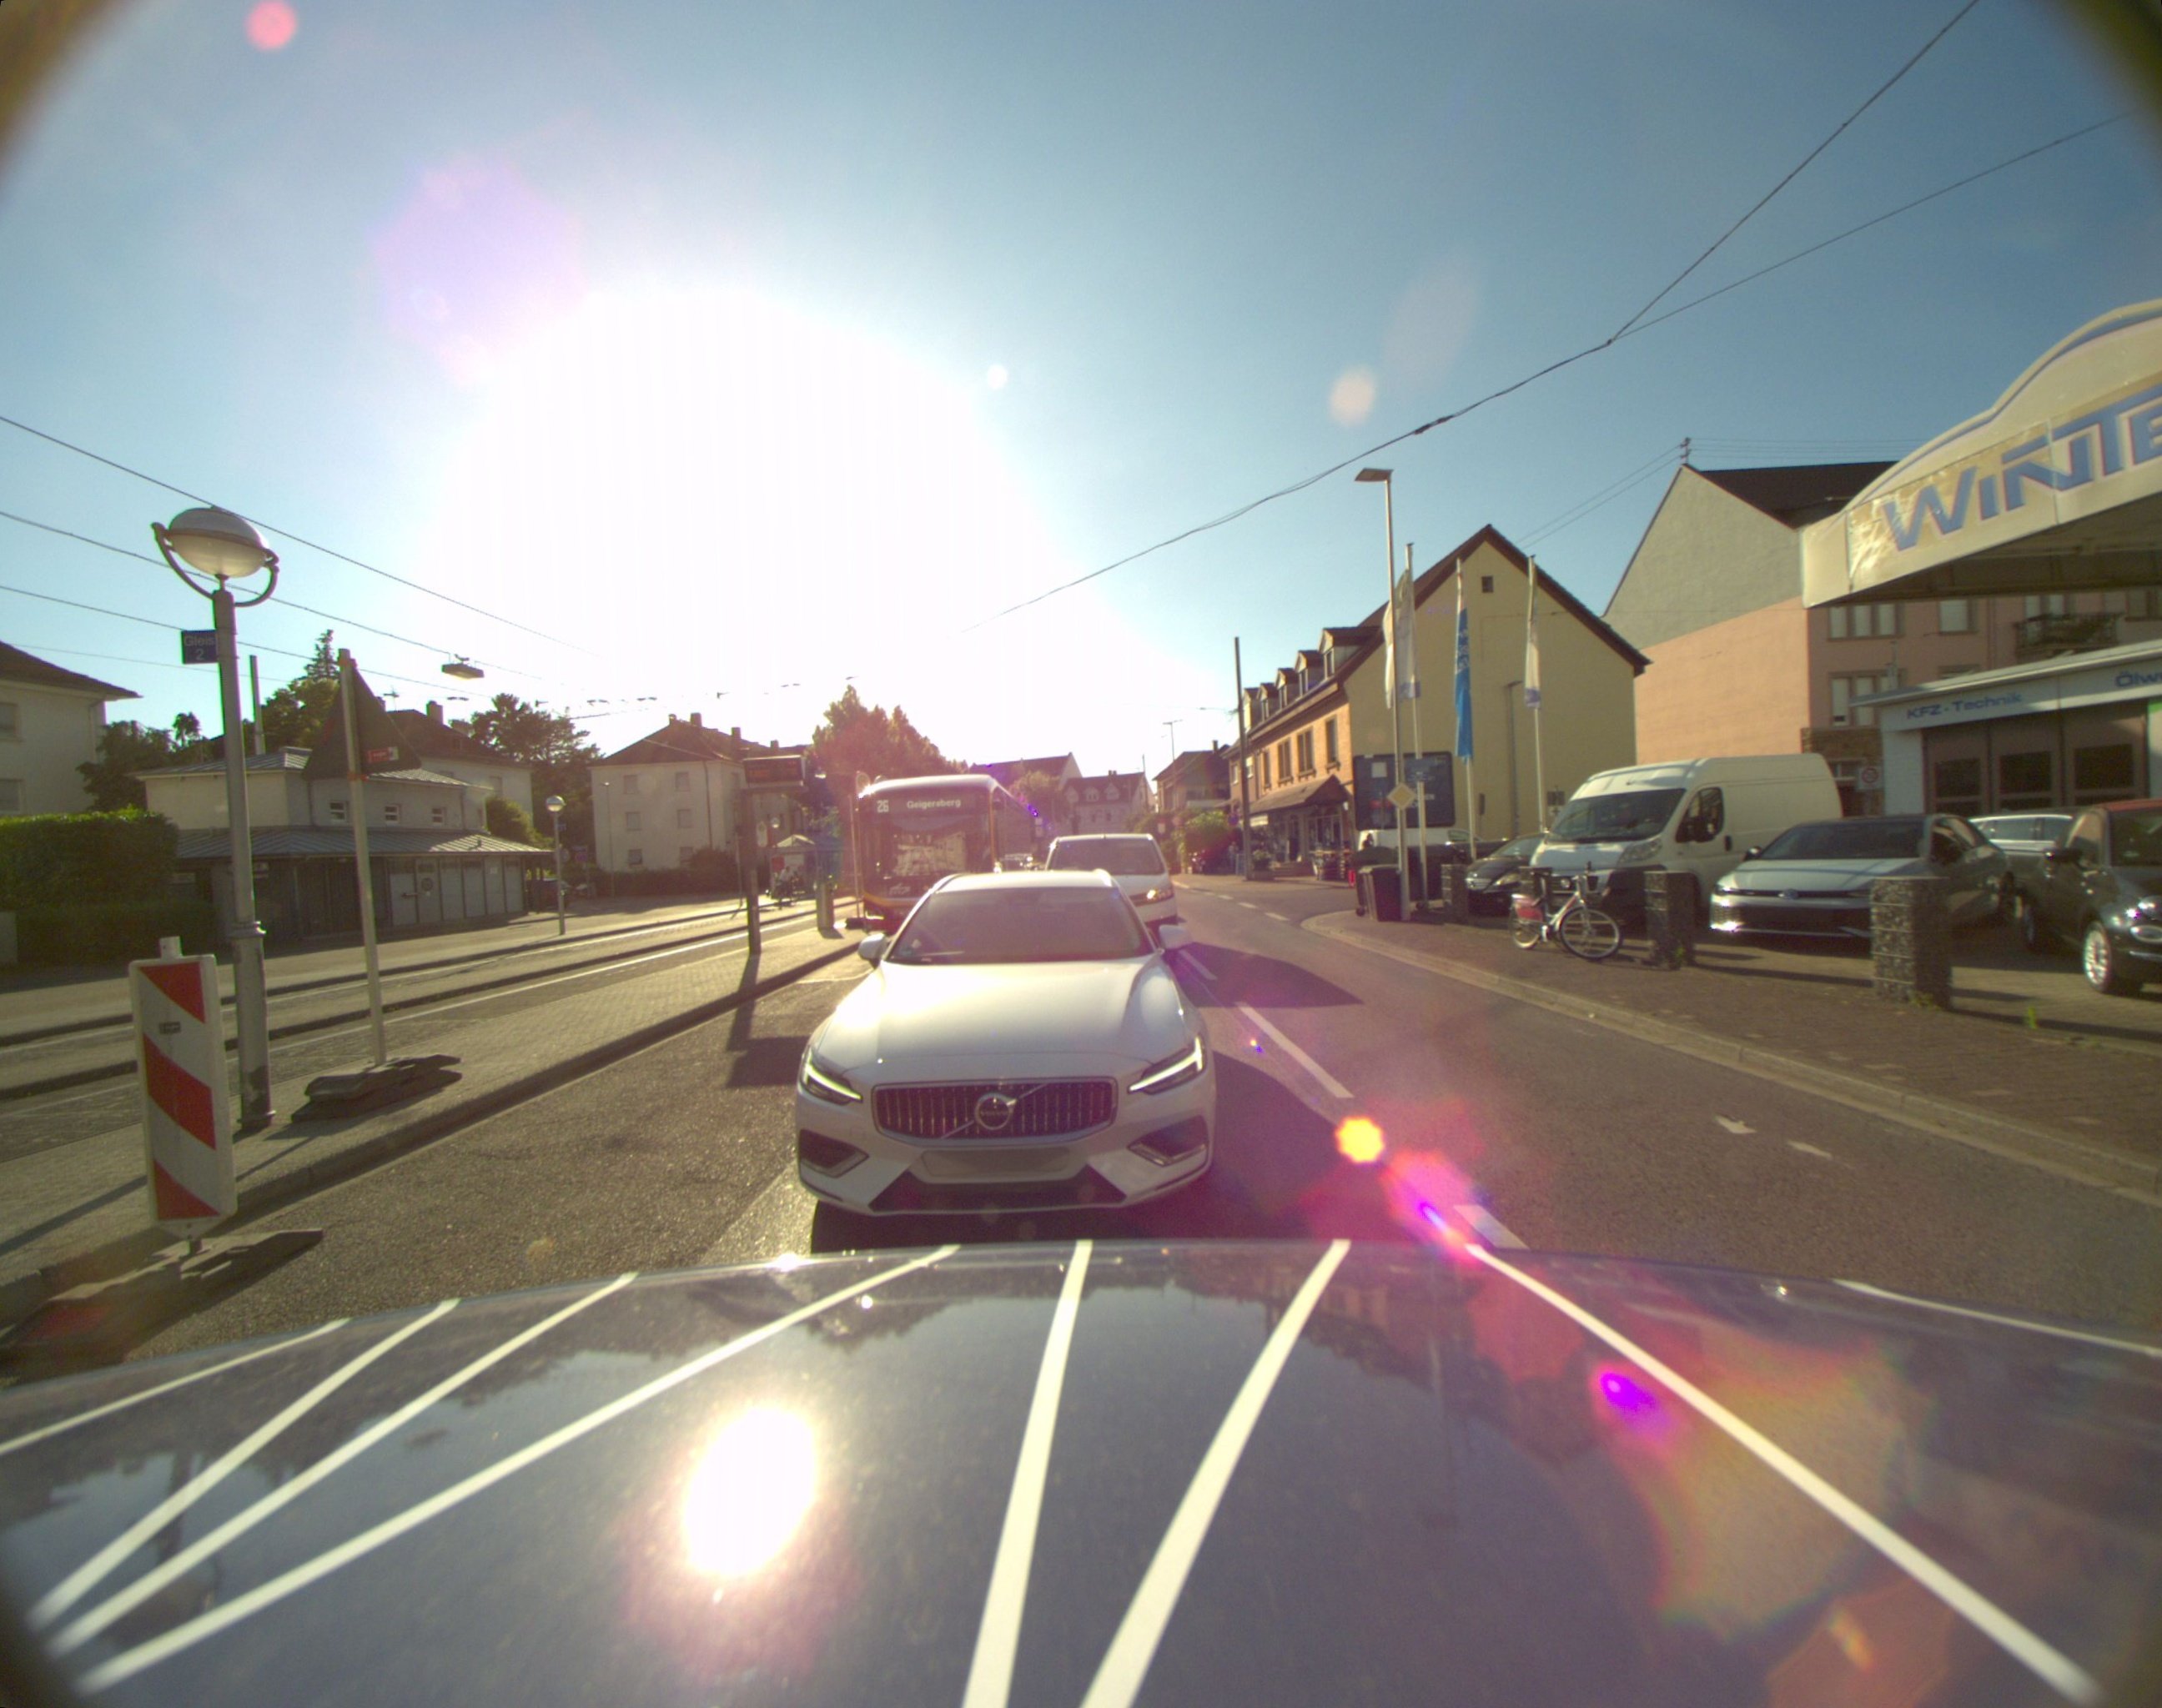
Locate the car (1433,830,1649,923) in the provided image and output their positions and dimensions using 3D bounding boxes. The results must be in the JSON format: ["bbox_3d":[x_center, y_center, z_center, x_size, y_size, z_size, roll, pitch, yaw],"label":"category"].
[{"bbox_3d":[8.964,0.375,14.754,4.036,1.469,1.739,-3,1,-28],"label":"car"}]

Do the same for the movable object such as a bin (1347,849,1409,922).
[{"bbox_3d":[6.232,0.643,15.958,1.045,1.456,0.797,-2,1,32],"label":"movable object such as a bin"}]

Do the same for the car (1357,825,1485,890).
[{"bbox_3d":[11.562,0.099,25.929,3.672,2.002,1.451,-2,1,-3],"label":"car"}]

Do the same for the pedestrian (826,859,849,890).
[{"bbox_3d":[-13.329,1.115,41.599,0.823,1.601,0.843,-2,1,19],"label":"pedestrian"}]

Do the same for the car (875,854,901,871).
[{"bbox_3d":[-23.263,1.023,91.780,1.998,1.853,3.999,-2,1,1],"label":"car"}]

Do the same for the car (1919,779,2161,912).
[{"bbox_3d":[16.477,-0.172,11.995,1.742,1.933,4.257,-3,1,-1],"label":"car"}]

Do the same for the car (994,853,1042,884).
[{"bbox_3d":[-3.232,0.708,39.897,1.969,1.450,4.824,-2,0,1],"label":"car"}]

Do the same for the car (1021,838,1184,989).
[{"bbox_3d":[0.299,0.736,12.017,1.969,1.816,5.033,-2,0,1],"label":"car"}]

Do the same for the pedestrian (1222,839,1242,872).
[{"bbox_3d":[7.868,0.070,39.642,0.809,1.703,0.859,-2,1,1],"label":"pedestrian"}]

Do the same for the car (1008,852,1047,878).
[{"bbox_3d":[-3.274,0.634,47.311,1.969,1.450,4.824,-2,0,1],"label":"car"}]

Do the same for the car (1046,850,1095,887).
[{"bbox_3d":[-0.395,0.585,33.268,1.969,1.450,4.824,-2,0,1],"label":"car"}]

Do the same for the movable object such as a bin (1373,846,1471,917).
[{"bbox_3d":[7.590,0.580,16.921,1.798,1.456,1.046,-3,1,-25],"label":"movable object such as a bin"}]

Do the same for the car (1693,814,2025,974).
[{"bbox_3d":[9.486,0.361,9.219,4.036,1.488,1.739,-3,1,-28],"label":"car"}]

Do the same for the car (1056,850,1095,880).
[{"bbox_3d":[-0.256,0.569,41.521,1.969,1.450,4.824,-2,0,1],"label":"car"}]

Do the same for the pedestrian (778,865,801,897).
[{"bbox_3d":[-12.815,1.180,33.437,0.657,1.373,0.581,-2,1,20],"label":"pedestrian"}]

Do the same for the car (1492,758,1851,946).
[{"bbox_3d":[9.140,-0.133,11.768,4.997,2.440,2.111,-3,1,-22],"label":"car"}]

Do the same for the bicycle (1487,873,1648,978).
[{"bbox_3d":[5.878,0.816,9.321,0.725,1.080,1.791,-3,1,-3],"label":"bicycle"}]

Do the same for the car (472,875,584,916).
[{"bbox_3d":[-27.691,2.051,38.146,4.052,1.663,2.000,-4,1,2],"label":"car"}]

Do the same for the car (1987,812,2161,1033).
[{"bbox_3d":[9.072,0.413,6.172,1.590,1.488,3.442,-2,1,40],"label":"car"}]

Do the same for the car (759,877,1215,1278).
[{"bbox_3d":[-0.357,0.984,5.228,1.821,1.446,4.217,-2,0,1],"label":"car"}]

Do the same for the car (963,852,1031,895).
[{"bbox_3d":[-3.155,0.708,29.508,1.969,1.450,4.824,-2,0,1],"label":"car"}]

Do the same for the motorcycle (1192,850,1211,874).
[{"bbox_3d":[6.350,0.420,40.127,0.708,1.210,2.186,-2,1,3],"label":"motorcycle"}]

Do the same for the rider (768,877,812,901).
[{"bbox_3d":[-12.809,1.527,33.453,1.853,0.986,0.581,-2,1,20],"label":"rider"}]

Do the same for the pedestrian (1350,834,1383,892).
[{"bbox_3d":[9.352,0.277,24.862,0.765,1.842,0.824,-1,1,38],"label":"pedestrian"}]

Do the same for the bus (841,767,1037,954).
[{"bbox_3d":[-2.923,0.097,19.841,2.748,3.284,12.030,-2,0,0],"label":"bus"}]
